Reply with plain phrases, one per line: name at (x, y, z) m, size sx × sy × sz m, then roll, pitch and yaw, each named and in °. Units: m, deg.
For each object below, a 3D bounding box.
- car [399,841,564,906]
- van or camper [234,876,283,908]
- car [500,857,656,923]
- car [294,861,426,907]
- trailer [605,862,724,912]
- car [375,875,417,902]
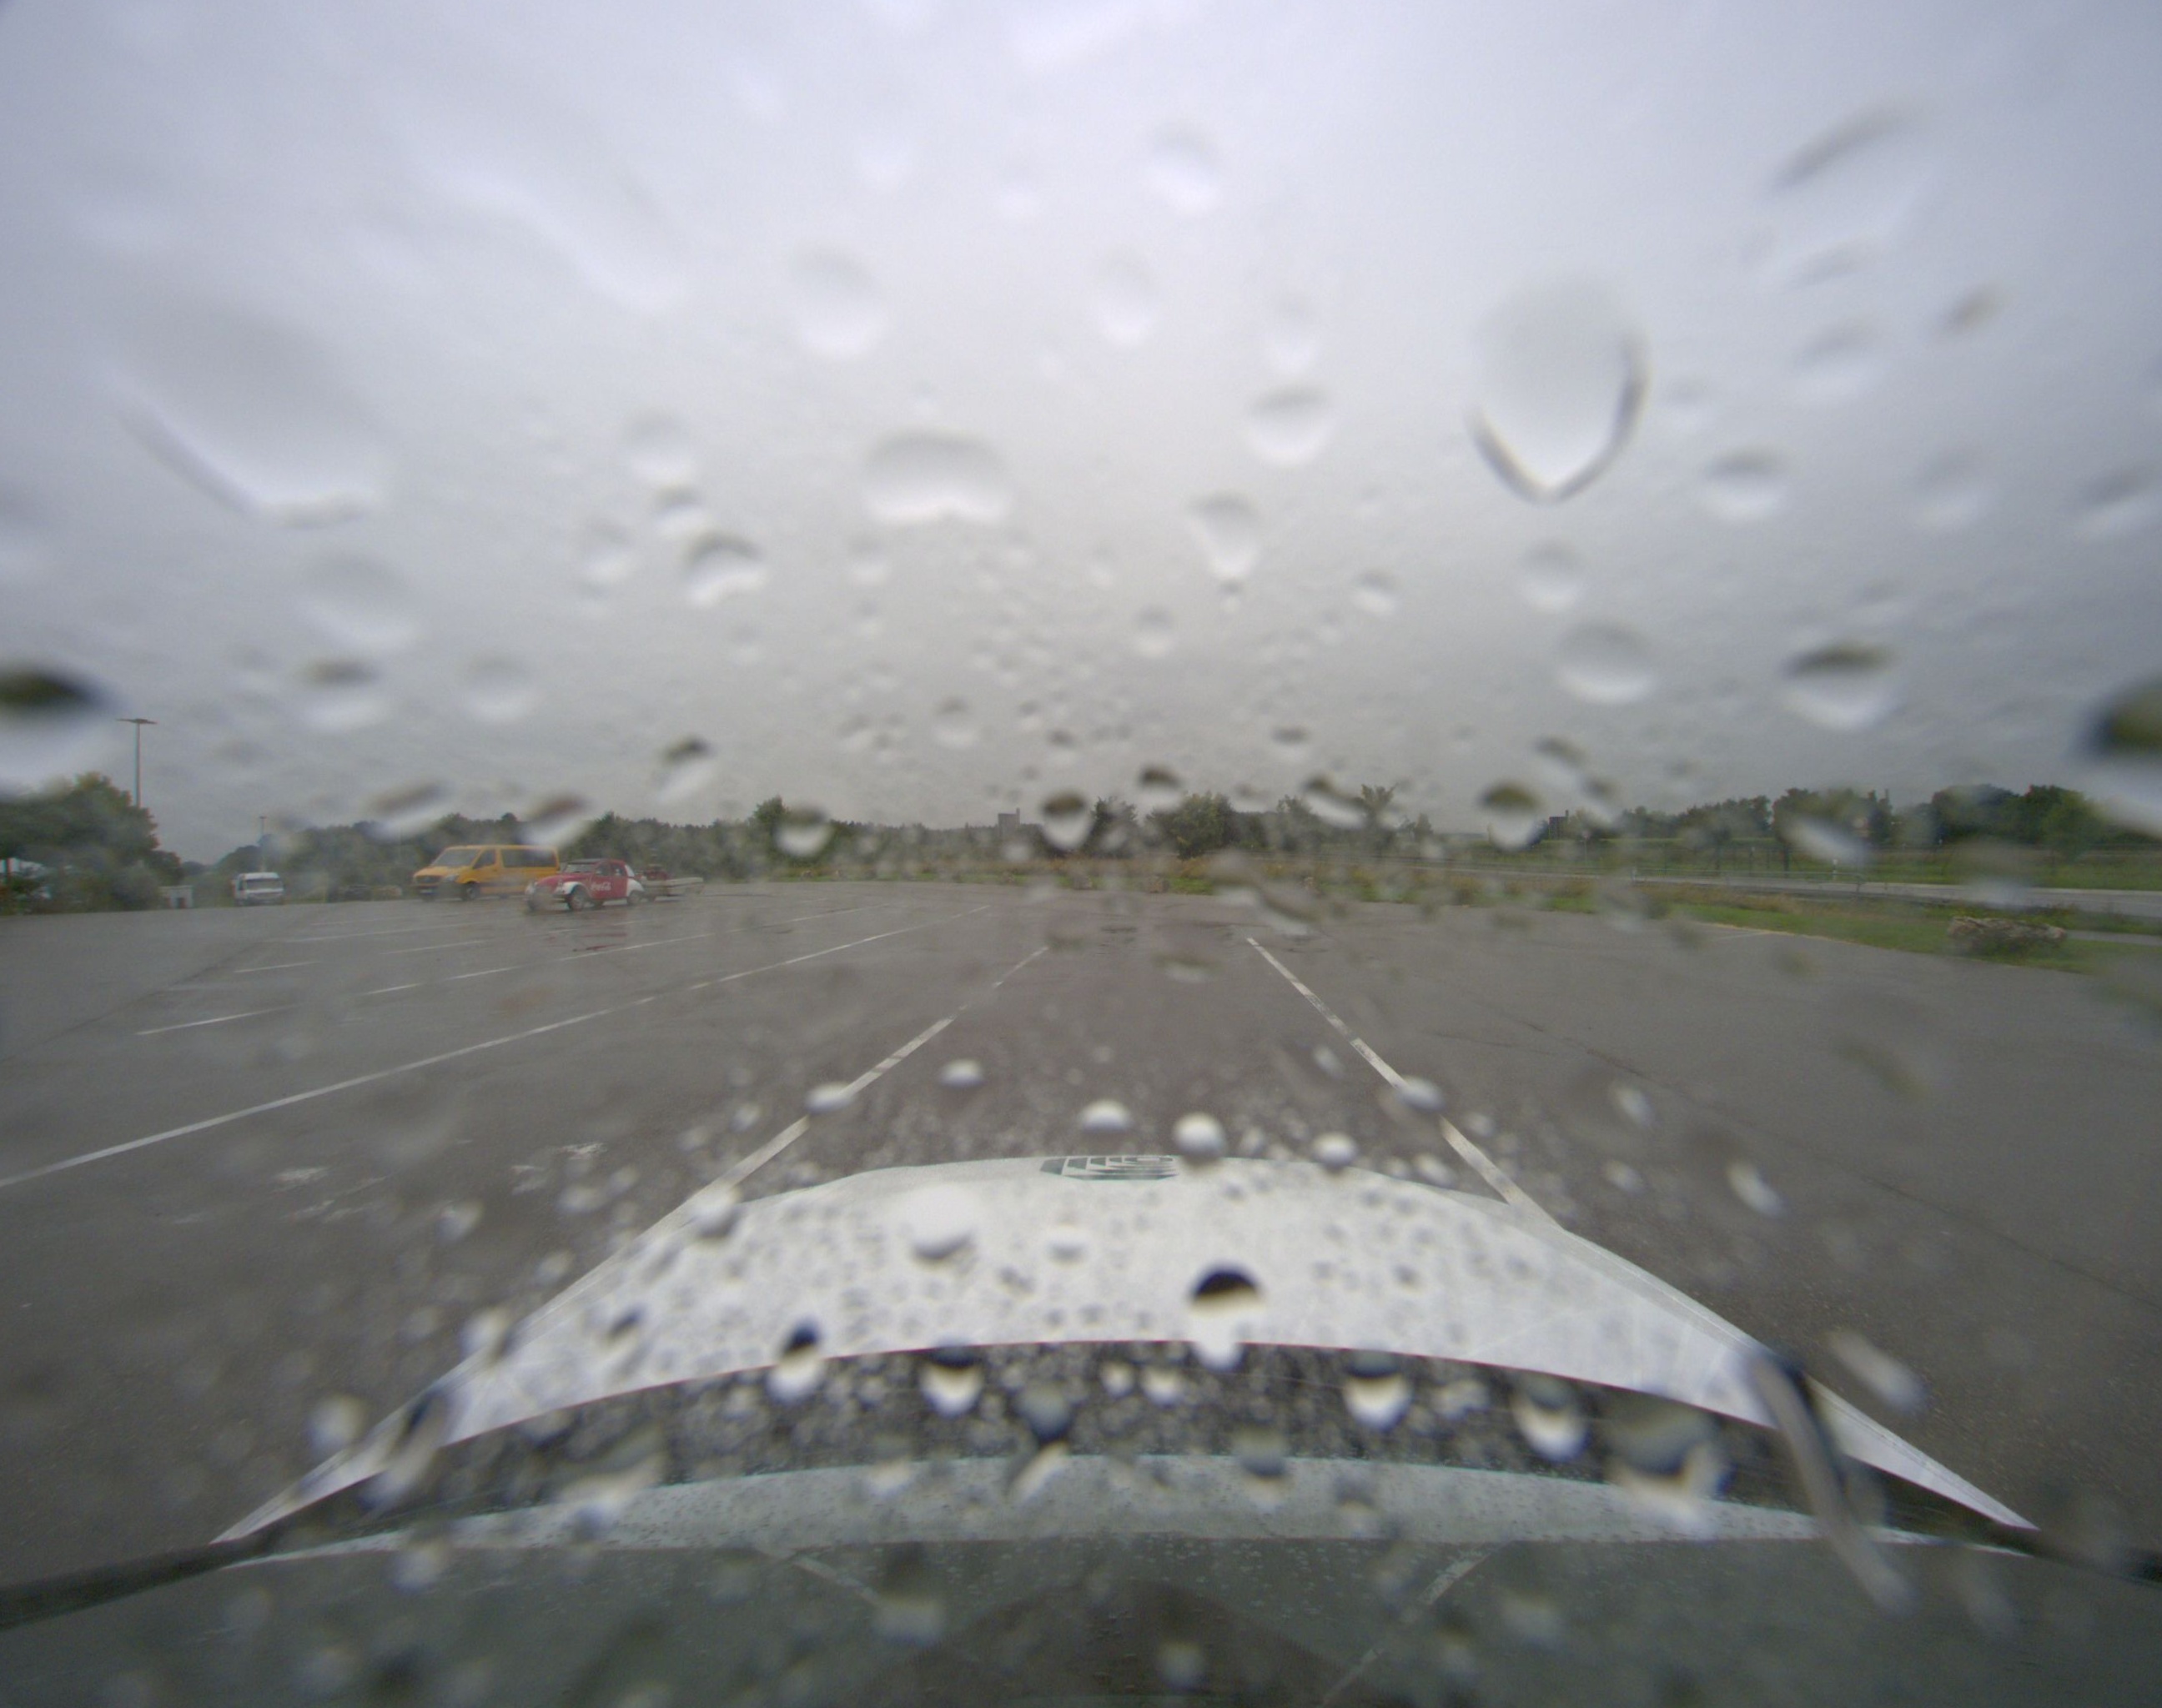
car at (-24.854, 0.770, 34.144) m, size 1.984 × 2.380 × 6.033 m, roll -3°, pitch -1°, yaw 5°
van or camper at (-59.427, 2.763, 58.837) m, size 3.948 × 2.166 × 2.013 m, roll -2°, pitch -1°, yaw 37°
car at (-15.119, 1.016, 24.753) m, size 1.812 × 1.777 × 4.009 m, roll -2°, pitch 0°, yaw 8°
car at (-37.725, 1.507, 42.780) m, size 1.976 × 2.201 × 4.798 m, roll 0°, pitch 0°, yaw 22°
trailer at (-14.543, 1.110, 28.730) m, size 1.685 × 1.532 × 4.009 m, roll -2°, pitch 0°, yaw 8°
car at (-54.753, 2.750, 65.070) m, size 3.948 × 2.013 × 1.698 m, roll -3°, pitch -1°, yaw 37°
